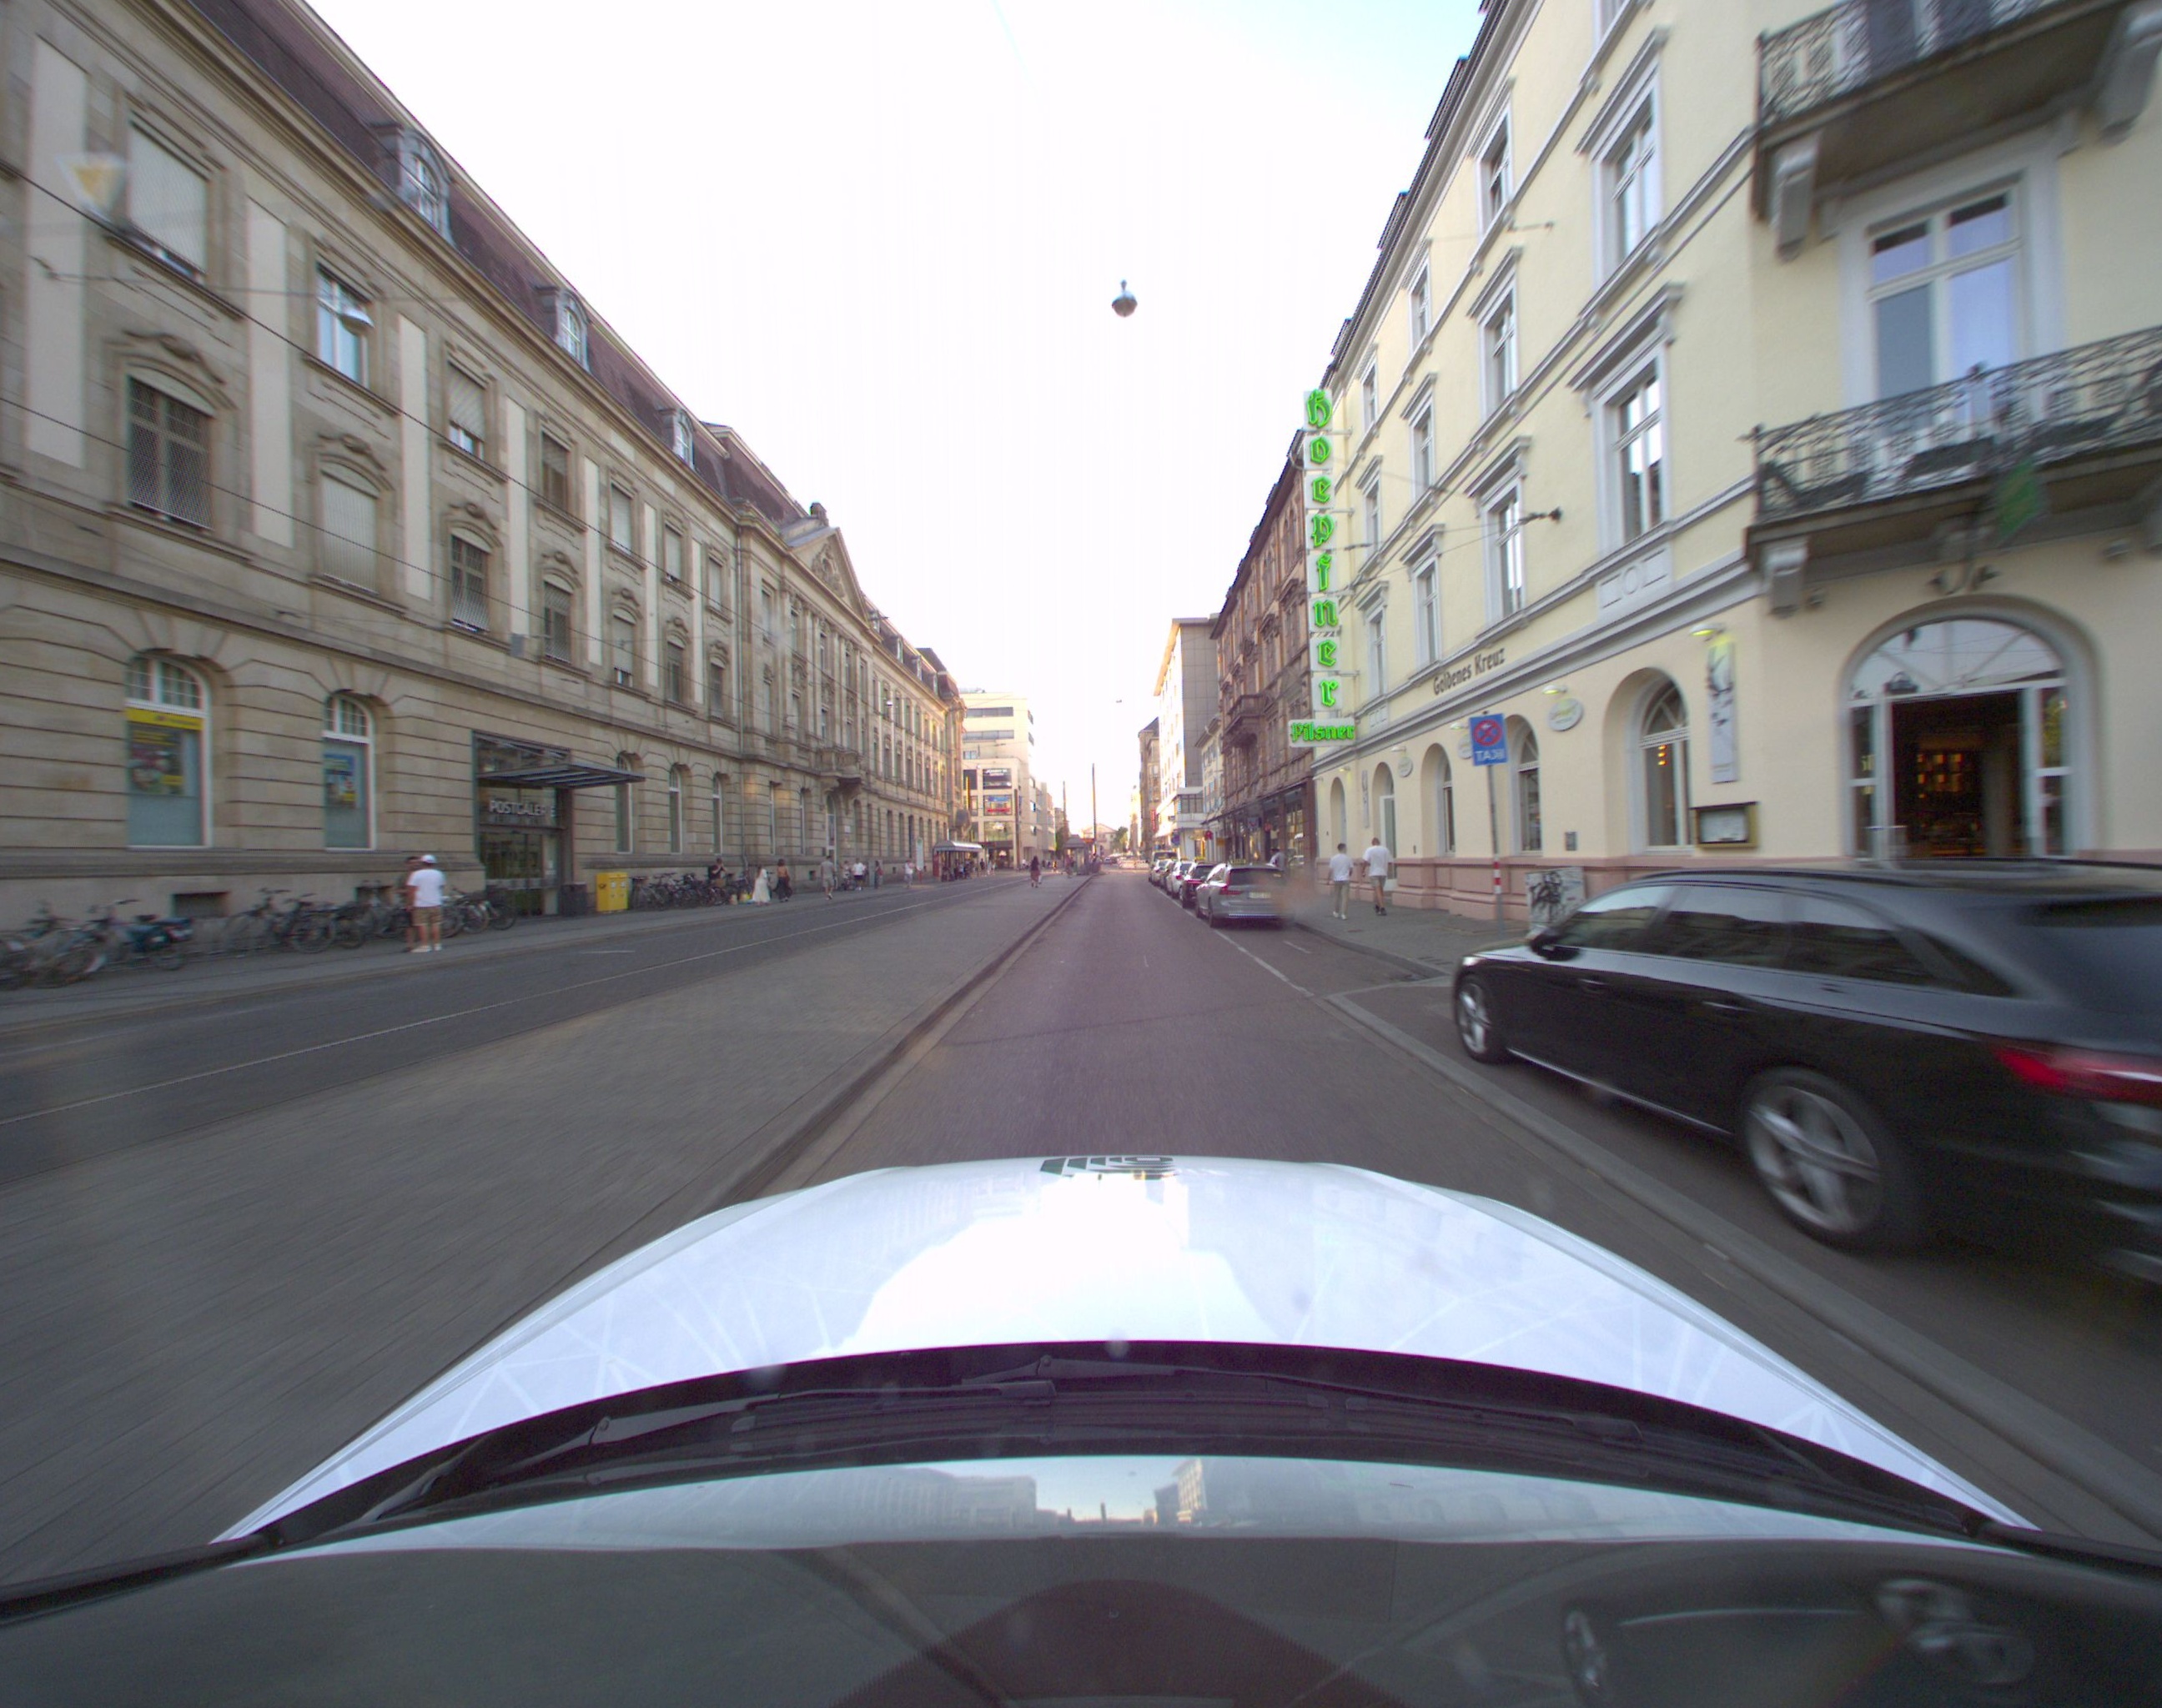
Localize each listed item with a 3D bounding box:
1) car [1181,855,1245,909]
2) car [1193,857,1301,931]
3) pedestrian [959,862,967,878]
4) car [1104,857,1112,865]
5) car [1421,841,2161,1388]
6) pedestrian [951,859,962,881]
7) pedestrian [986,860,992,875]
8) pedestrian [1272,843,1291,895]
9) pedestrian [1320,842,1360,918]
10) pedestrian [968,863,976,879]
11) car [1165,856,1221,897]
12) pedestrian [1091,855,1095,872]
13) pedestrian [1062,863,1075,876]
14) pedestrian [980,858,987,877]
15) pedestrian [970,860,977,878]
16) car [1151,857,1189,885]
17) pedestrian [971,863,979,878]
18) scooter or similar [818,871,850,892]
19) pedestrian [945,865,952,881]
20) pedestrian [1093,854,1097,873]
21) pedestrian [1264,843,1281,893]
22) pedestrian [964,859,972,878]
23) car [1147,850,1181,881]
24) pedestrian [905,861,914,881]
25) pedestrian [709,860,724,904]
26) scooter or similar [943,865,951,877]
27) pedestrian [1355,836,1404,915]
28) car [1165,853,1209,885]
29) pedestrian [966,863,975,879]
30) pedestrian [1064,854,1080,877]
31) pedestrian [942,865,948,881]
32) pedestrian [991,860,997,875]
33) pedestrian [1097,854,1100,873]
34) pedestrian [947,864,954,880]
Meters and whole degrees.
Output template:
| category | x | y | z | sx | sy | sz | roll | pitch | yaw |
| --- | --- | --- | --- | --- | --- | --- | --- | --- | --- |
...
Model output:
| category | x | y | z | sx | sy | sz | roll | pitch | yaw |
| --- | --- | --- | --- | --- | --- | --- | --- | --- | --- |
| car | 4.234 | 0.881 | 26.625 | 1.724 | 1.590 | 4.447 | 0 | -1 | 5 |
| car | 3.873 | 0.855 | 19.728 | 1.799 | 1.475 | 4.695 | 0 | 1 | 2 |
| pedestrian | -9.478 | 1.285 | 65.430 | 0.515 | 1.327 | 0.639 | -2 | -1 | 5 |
| car | 6.629 | 1.640 | 200.497 | 1.986 | 1.904 | 4.001 | 0 | -1 | 1 |
| car | 3.601 | 0.700 | 4.414 | 1.690 | 1.390 | 4.549 | -3 | -1 | 2 |
| pedestrian | -9.649 | 1.253 | 63.029 | 0.513 | 1.650 | 0.641 | -2 | -2 | 24 |
| pedestrian | -9.750 | 1.421 | 86.095 | 0.519 | 1.525 | 0.499 | -1 | -1 | -15 |
| pedestrian | 7.015 | 0.519 | 28.481 | 0.372 | 1.768 | 0.663 | -4 | -1 | -2 |
| pedestrian | 6.004 | 0.596 | 18.849 | 0.613 | 1.689 | 0.489 | -6 | -1 | 31 |
| pedestrian | -9.210 | 1.398 | 68.803 | 0.515 | 1.327 | 0.639 | -2 | -1 | 5 |
| car | 4.401 | 0.885 | 32.717 | 1.726 | 1.511 | 4.867 | 1 | -1 | 2 |
| pedestrian | 1.177 | 0.911 | 77.927 | 0.384 | 1.642 | 0.549 | 0 | -1 | 0 |
| pedestrian | -0.963 | 1.208 | 63.458 | 0.791 | 0.939 | 0.697 | -2 | -1 | 25 |
| pedestrian | -9.037 | 1.276 | 75.765 | 0.558 | 1.776 | 0.468 | -1 | -1 | -2 |
| pedestrian | -9.612 | 1.320 | 72.749 | 0.515 | 1.569 | 0.639 | -2 | -2 | 5 |
| car | 4.989 | 0.907 | 46.119 | 1.799 | 1.483 | 4.780 | 1 | 0 | 2 |
| pedestrian | -9.104 | 1.410 | 69.671 | 0.515 | 1.327 | 0.639 | -2 | -1 | 5 |
| scooter or similar | -12.713 | 1.412 | 41.924 | 1.539 | 1.068 | 0.451 | -1 | -1 | 6 |
| pedestrian | -9.591 | 1.386 | 59.105 | 0.362 | 1.103 | 0.430 | -1 | -1 | 8 |
| pedestrian | 1.288 | 0.876 | 74.912 | 0.410 | 1.767 | 0.594 | 0 | -1 | 0 |
| pedestrian | 6.831 | 0.491 | 29.013 | 0.372 | 1.768 | 0.455 | -4 | -1 | -2 |
| pedestrian | -9.988 | 1.294 | 71.993 | 0.515 | 1.646 | 0.639 | -2 | -2 | 5 |
| car | 5.347 | 0.757 | 52.874 | 1.869 | 1.923 | 4.701 | 1 | -1 | 2 |
| pedestrian | -13.240 | 1.296 | 62.918 | 0.660 | 1.562 | 0.677 | -1 | -1 | -12 |
| pedestrian | -13.769 | 1.058 | 30.770 | 0.362 | 1.633 | 0.430 | -1 | -1 | 8 |
| scooter or similar | -12.817 | 1.642 | 77.829 | 0.484 | 1.182 | 1.294 | -1 | -1 | 4 |
| pedestrian | 6.774 | 0.477 | 18.492 | 0.757 | 1.689 | 0.551 | -6 | -1 | 1 |
| car | 5.186 | 0.749 | 40.436 | 1.719 | 1.477 | 4.822 | 0 | -1 | 2 |
| pedestrian | -9.238 | 1.386 | 68.035 | 0.515 | 1.327 | 0.639 | -2 | -1 | 5 |
| pedestrian | -0.664 | 0.849 | 58.409 | 0.679 | 1.638 | 0.866 | -2 | -1 | 42 |
| pedestrian | -9.769 | 1.379 | 58.524 | 0.362 | 1.103 | 0.430 | -1 | -1 | 8 |
| pedestrian | -9.205 | 1.403 | 86.277 | 0.526 | 1.525 | 0.500 | -1 | -1 | -12 |
| pedestrian | 1.741 | 0.949 | 80.735 | 0.340 | 1.796 | 0.544 | 0 | -1 | 0 |
| pedestrian | -9.603 | 1.331 | 59.953 | 0.362 | 1.200 | 0.430 | -1 | -1 | 8 |
